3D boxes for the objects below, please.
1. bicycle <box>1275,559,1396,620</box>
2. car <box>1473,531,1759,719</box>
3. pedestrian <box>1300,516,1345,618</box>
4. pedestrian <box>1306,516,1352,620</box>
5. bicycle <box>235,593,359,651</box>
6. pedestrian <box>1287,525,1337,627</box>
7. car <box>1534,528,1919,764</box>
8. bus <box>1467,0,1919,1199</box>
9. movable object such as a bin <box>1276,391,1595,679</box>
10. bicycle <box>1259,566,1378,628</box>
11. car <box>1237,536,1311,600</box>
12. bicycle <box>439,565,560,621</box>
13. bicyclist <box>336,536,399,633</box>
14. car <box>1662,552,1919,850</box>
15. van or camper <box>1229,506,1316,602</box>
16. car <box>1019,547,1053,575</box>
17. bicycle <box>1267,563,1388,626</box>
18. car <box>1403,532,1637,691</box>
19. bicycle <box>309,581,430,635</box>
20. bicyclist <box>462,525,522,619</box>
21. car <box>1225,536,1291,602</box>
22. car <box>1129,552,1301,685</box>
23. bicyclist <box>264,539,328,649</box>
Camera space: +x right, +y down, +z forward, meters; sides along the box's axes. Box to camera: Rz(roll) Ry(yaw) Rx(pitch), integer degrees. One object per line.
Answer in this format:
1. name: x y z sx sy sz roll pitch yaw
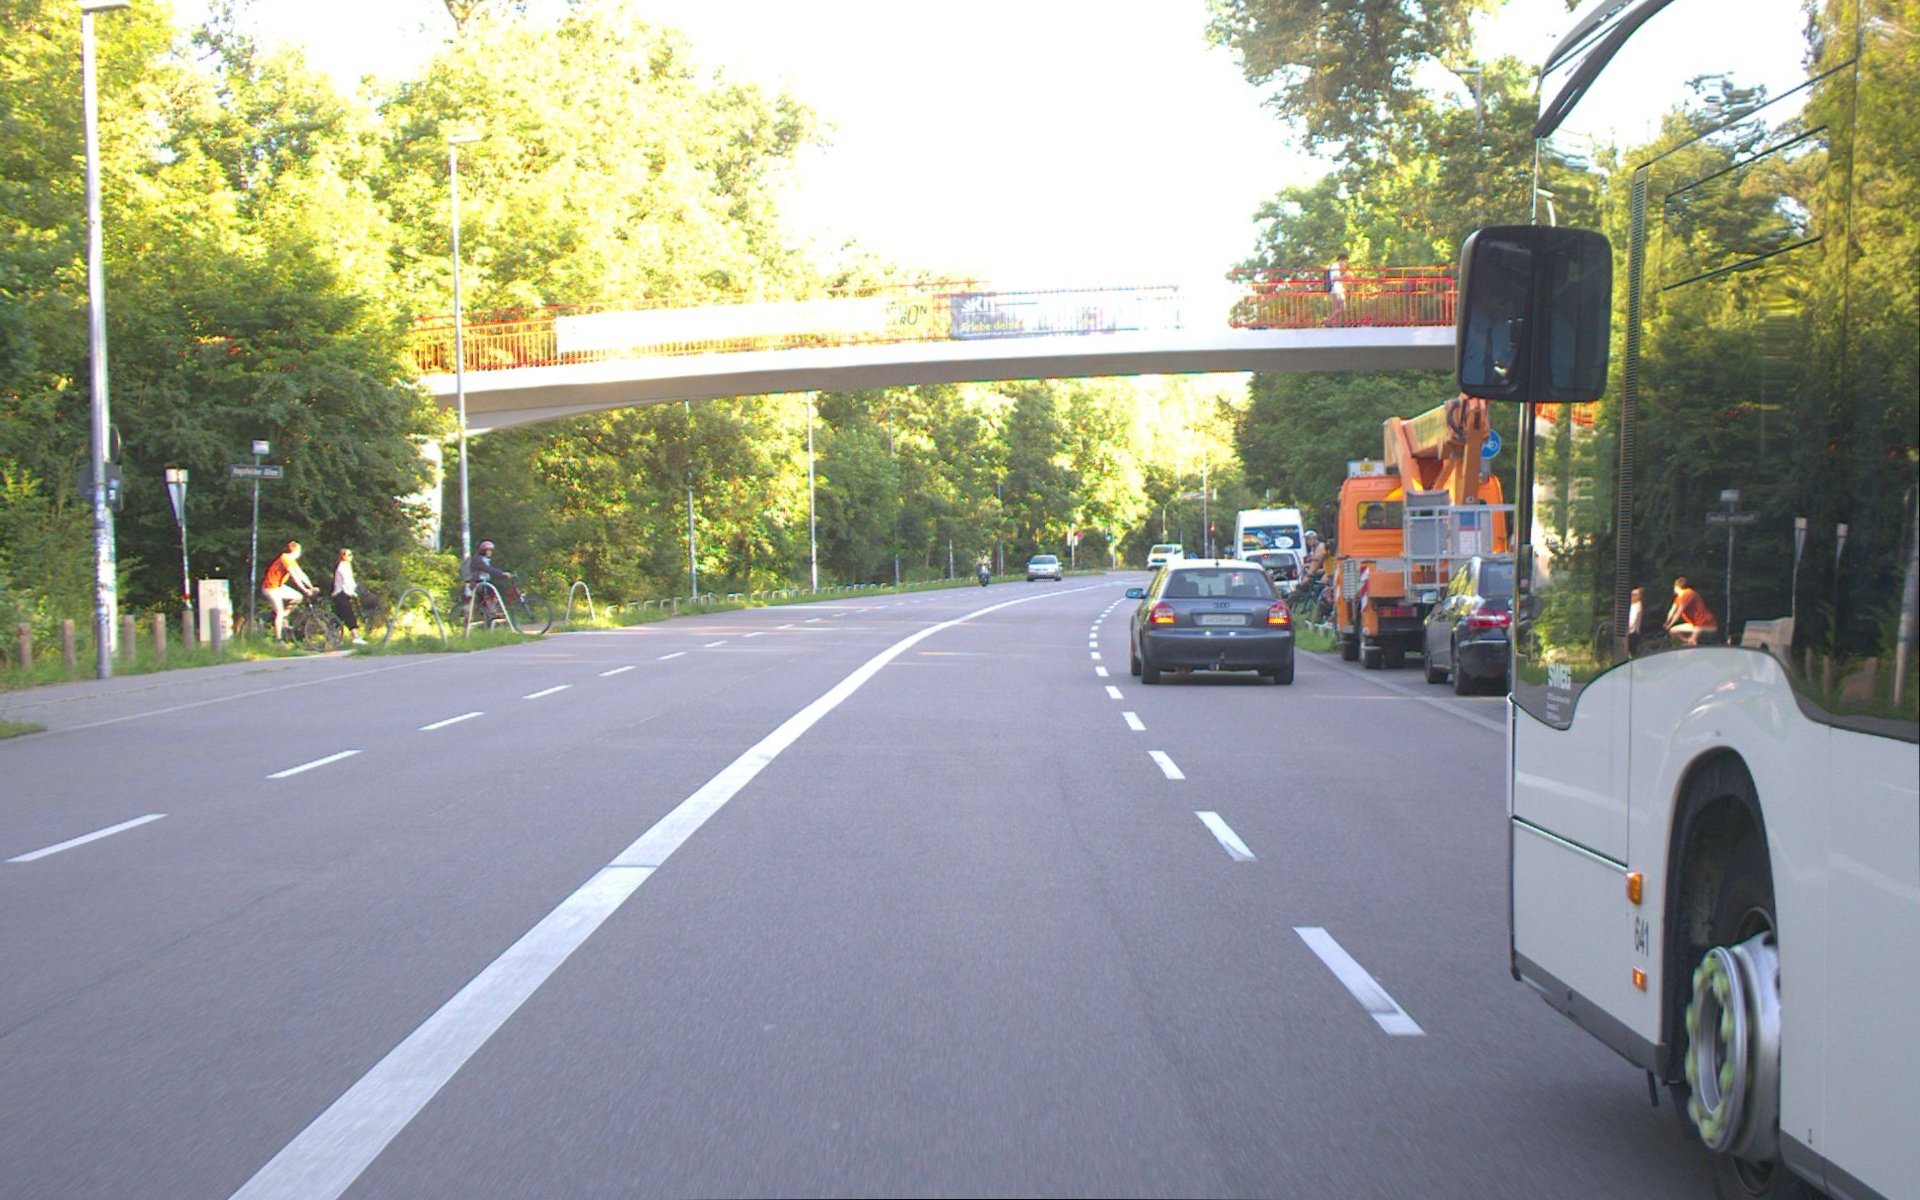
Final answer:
1. bicycle: 6.751 -0.194 61.902 2.061 1.064 0.870 0 1 -1
2. car: 5.830 0.175 30.986 1.727 1.569 4.090 0 1 -1
3. pedestrian: 6.629 -0.602 62.892 0.699 1.846 0.939 0 1 -2
4. pedestrian: 6.636 -0.584 61.910 0.699 1.846 0.939 0 1 -2
5. bicycle: -11.523 0.381 59.751 1.927 0.931 0.824 -1 1 12
6. pedestrian: 6.555 -0.447 64.008 0.699 1.846 0.939 -3 0 -2
7. car: 5.558 0.276 25.288 1.838 1.569 4.460 0 1 -1
8. bus: 2.851 -0.086 3.882 2.704 3.211 12.280 0 1 0
9. movable object such as a bin: 5.983 -0.839 44.479 2.758 3.359 7.601 -1 1 -2
10. bicycle: 6.668 -0.057 64.008 2.061 1.064 0.870 -2 0 -1
11. car: 7.606 -0.790 83.011 1.723 1.491 3.774 0 1 6
12. bicycle: -8.046 -0.124 60.076 1.927 0.931 0.824 -1 1 12
13. bicyclist: -10.485 -0.283 60.834 0.796 1.691 0.945 0 1 11
14. car: 5.418 0.503 20.088 1.727 1.536 4.090 0 1 -1
15. van or camper: 8.541 -1.286 94.350 2.119 2.509 5.980 -1 1 3
16. car: 4.152 -2.126 187.276 1.681 1.402 3.889 -2 1 4
17. bicycle: 6.717 -0.098 62.861 2.061 1.064 0.870 -2 0 -1
18. car: 5.837 0.082 36.242 1.727 1.569 4.090 0 1 -1
19. bicycle: -10.449 0.142 60.851 1.927 0.931 0.824 0 1 12
20. bicyclist: -8.178 -0.494 60.102 0.796 1.638 0.841 0 1 11
21. car: 8.785 -0.947 101.676 1.829 1.861 5.073 -1 1 4
22. car: 2.868 0.172 39.435 1.728 1.436 4.090 0 1 1
23. bicyclist: -11.538 -0.106 59.751 0.796 1.894 0.817 -1 1 11
